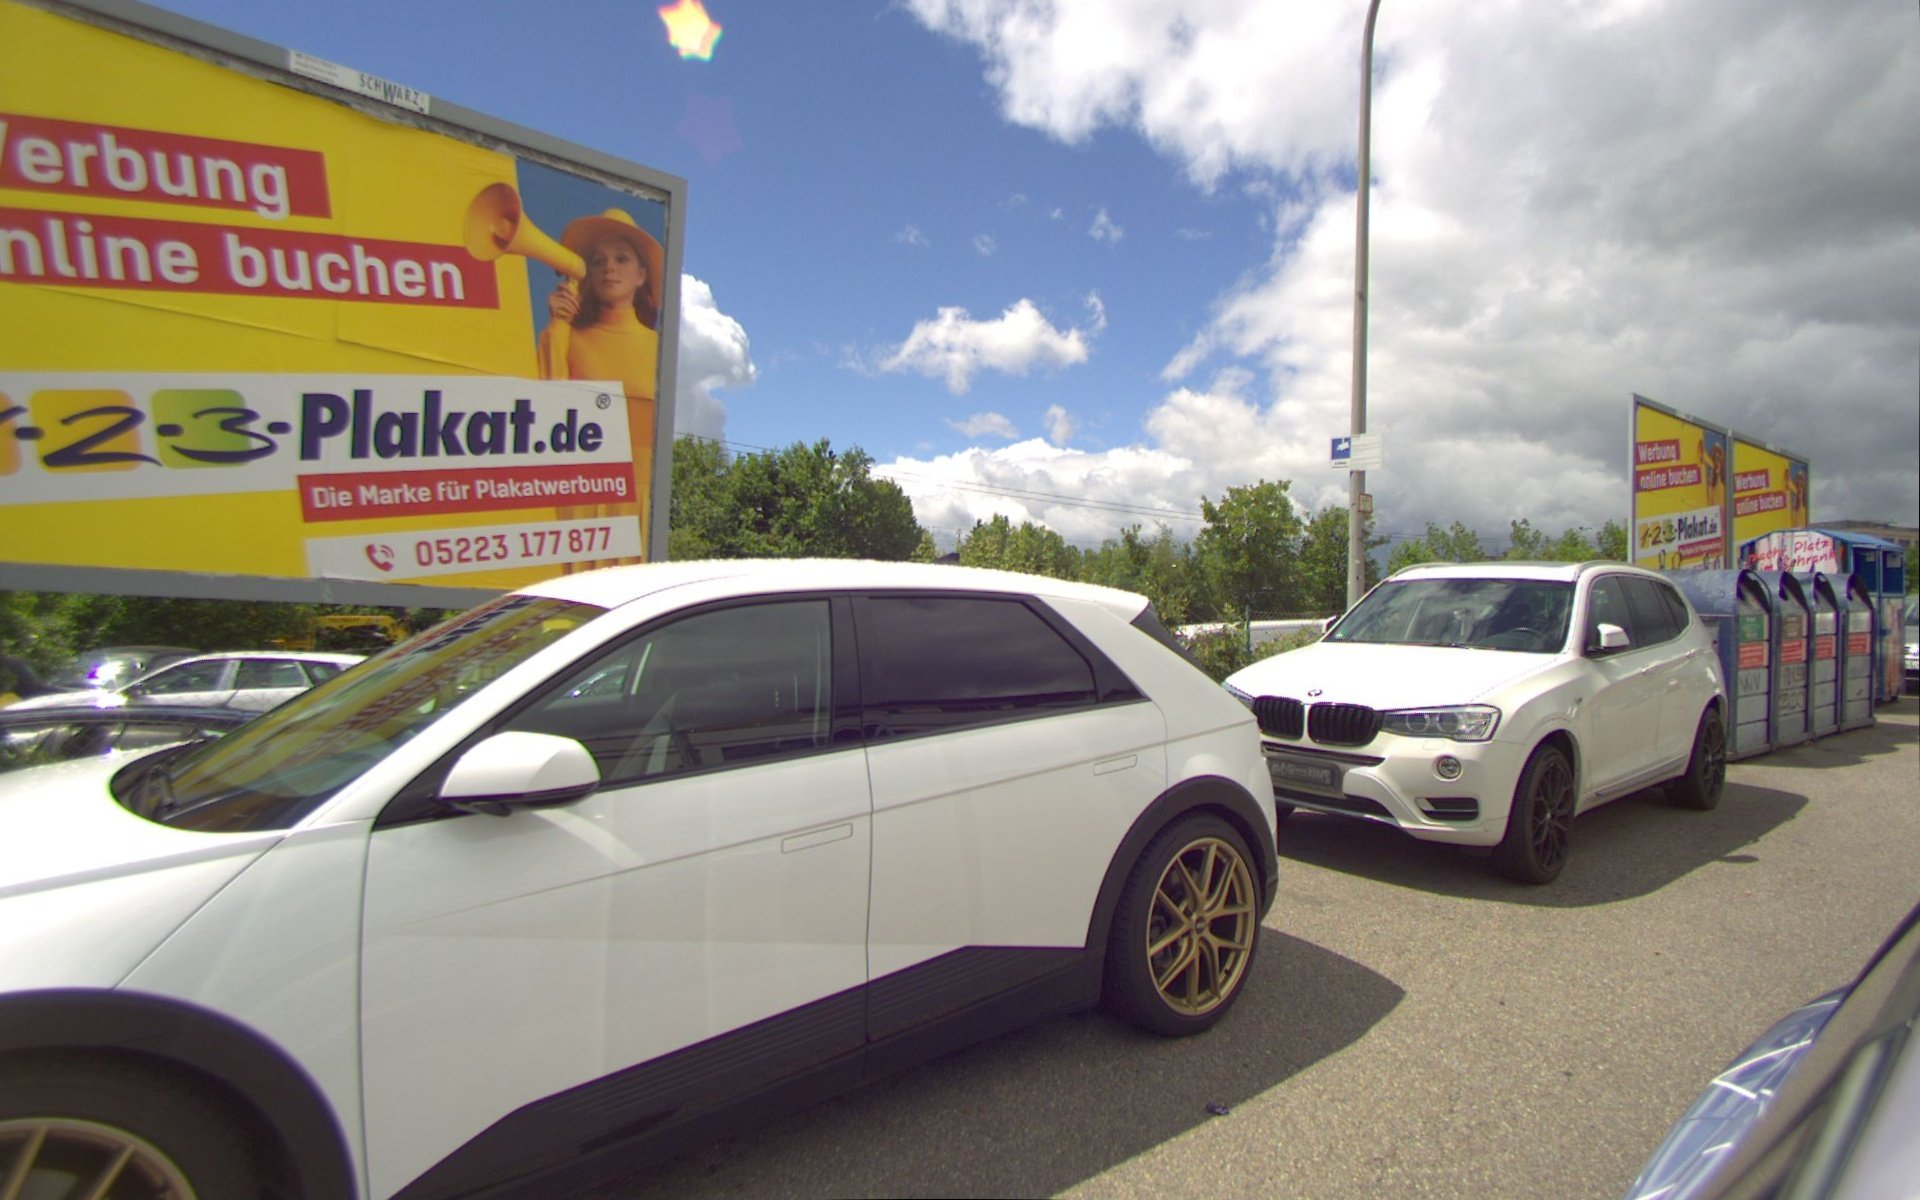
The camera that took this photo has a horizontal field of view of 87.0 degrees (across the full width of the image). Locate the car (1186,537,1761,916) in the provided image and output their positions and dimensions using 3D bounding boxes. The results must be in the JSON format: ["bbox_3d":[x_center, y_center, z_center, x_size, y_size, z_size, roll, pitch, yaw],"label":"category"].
[{"bbox_3d":[3.525,0.531,6.536,4.399,1.680,1.689,-1,1,-39],"label":"car"}]

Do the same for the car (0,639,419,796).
[{"bbox_3d":[-9.867,1.438,13.368,4.581,1.706,1.759,0,1,-20],"label":"car"}]

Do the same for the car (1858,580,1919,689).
[{"bbox_3d":[15.134,0.468,15.026,3.965,1.504,1.662,-1,2,-32],"label":"car"}]

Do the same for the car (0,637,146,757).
[{"bbox_3d":[-13.323,1.339,13.632,1.495,1.407,4.044,0,2,0],"label":"car"}]

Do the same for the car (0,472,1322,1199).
[{"bbox_3d":[-0.965,0.557,3.113,4.384,1.584,1.847,-1,2,-38],"label":"car"}]
